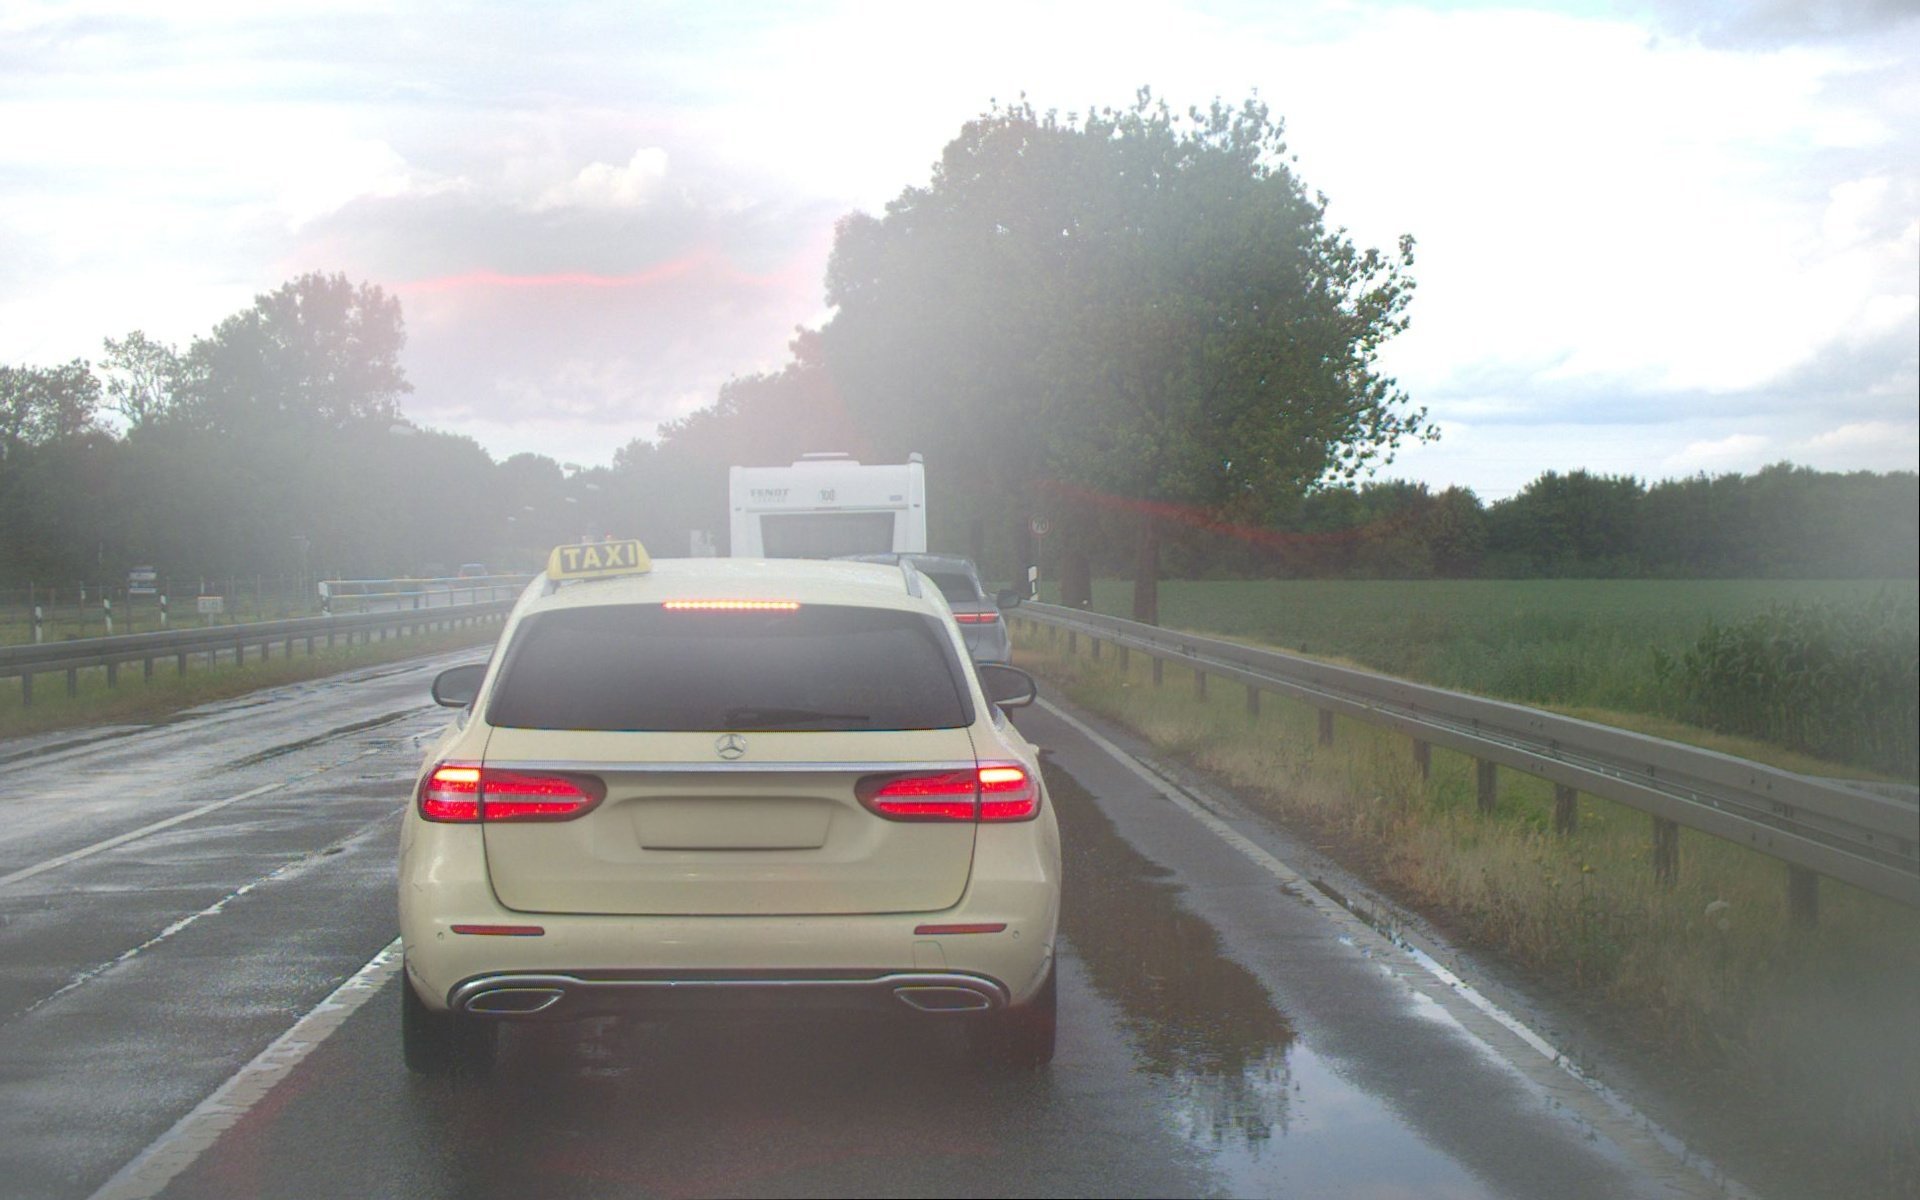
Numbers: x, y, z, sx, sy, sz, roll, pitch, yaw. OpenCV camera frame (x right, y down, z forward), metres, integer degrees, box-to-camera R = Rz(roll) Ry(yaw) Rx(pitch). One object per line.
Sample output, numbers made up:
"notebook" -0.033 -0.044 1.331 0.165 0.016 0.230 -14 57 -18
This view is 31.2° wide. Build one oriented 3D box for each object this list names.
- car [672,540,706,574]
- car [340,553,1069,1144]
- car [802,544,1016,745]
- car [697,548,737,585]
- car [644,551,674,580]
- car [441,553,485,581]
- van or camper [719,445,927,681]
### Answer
"car" -16.148 -2.538 205.111 1.993 2.007 4.001 0 1 -4
"car" -0.648 0.597 10.692 1.825 1.480 4.145 0 1 0
"car" -0.433 0.311 28.252 1.627 1.524 3.933 0 1 -1
"car" -13.590 -1.857 192.538 1.993 2.044 4.000 0 1 0
"car" -21.051 -2.404 240.525 1.993 2.007 4.001 0 1 -7
"car" -29.034 -1.937 200.936 1.993 1.645 4.000 0 1 0
"van or camper" -1.623 -0.480 42.011 2.350 2.671 5.769 0 1 -1
